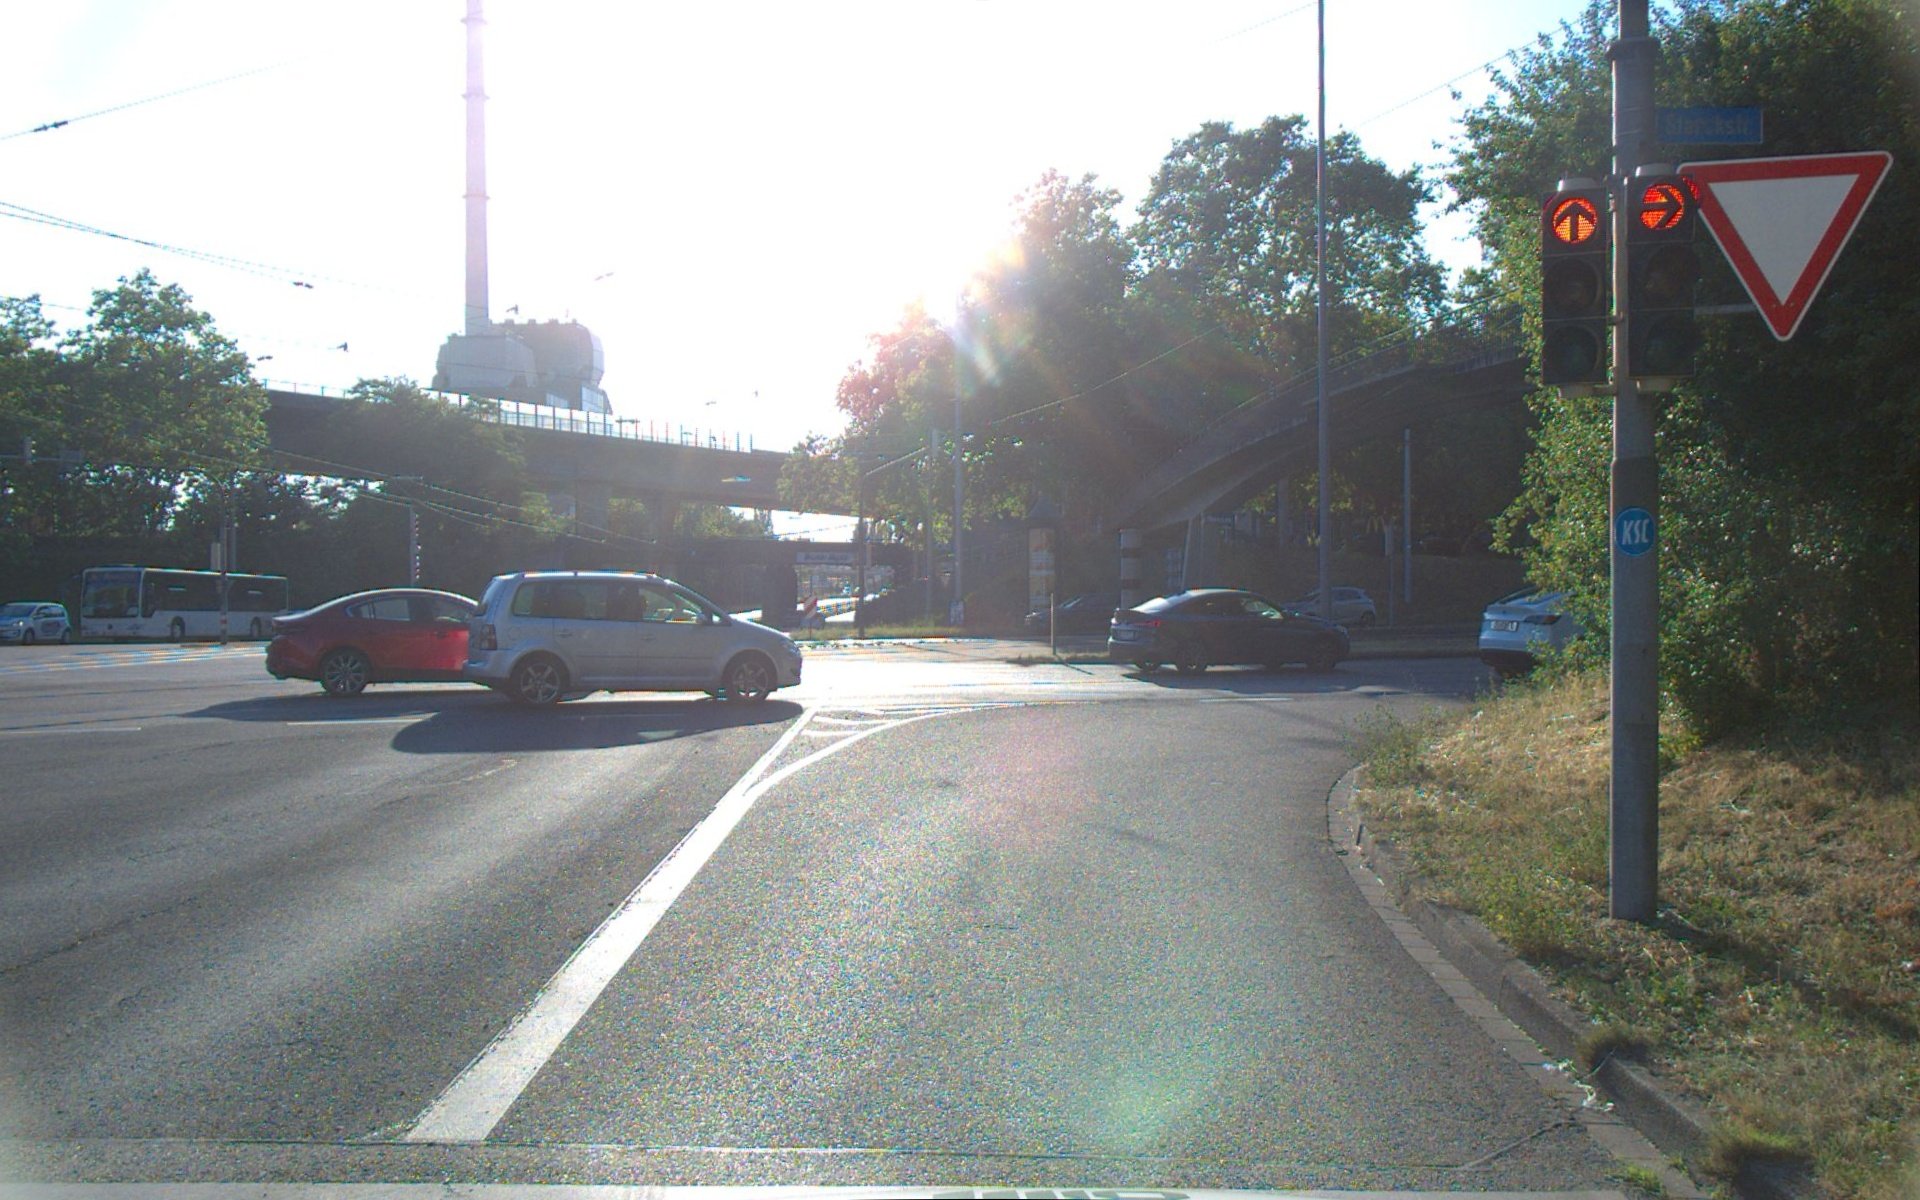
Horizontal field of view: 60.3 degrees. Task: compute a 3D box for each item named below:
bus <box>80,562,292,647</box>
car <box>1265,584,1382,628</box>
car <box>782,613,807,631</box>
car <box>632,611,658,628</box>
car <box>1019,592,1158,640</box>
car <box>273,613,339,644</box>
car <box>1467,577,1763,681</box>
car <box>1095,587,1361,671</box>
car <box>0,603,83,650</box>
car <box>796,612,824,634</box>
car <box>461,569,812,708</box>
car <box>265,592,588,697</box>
[{"bbox_3d":[-32.037,0.307,69.340,2.491,3.185,12.919,-1,-1,2],"label":"bus"},{"bbox_3d":[13.347,0.220,60.819,3.935,1.538,1.684,1,0,-20],"label":"car"},{"bbox_3d":[-13.708,1.795,137.012,1.631,1.429,4.445,1,0,0],"label":"car"},{"bbox_3d":[-28.794,1.793,151.360,1.573,1.444,4.008,1,0,1],"label":"car"},{"bbox_3d":[4.446,0.550,57.086,4.505,1.602,1.685,1,0,-18],"label":"car"},{"bbox_3d":[-31.700,1.370,80.251,1.573,1.444,4.008,1,0,1],"label":"car"},{"bbox_3d":[10.820,0.465,27.305,4.685,1.602,1.683,1,0,-22],"label":"car"},{"bbox_3d":[4.728,0.506,29.180,4.413,1.393,1.683,1,0,-21],"label":"car"},{"bbox_3d":[-32.163,0.899,57.297,1.574,1.538,4.006,1,0,-3],"label":"car"},{"bbox_3d":[-10.475,1.598,115.744,1.631,1.429,4.196,1,0,-1],"label":"car"},{"bbox_3d":[-4.169,0.471,21.328,4.213,1.659,1.683,1,0,-22],"label":"car"},{"bbox_3d":[-7.522,0.608,23.412,4.213,1.388,1.613,1,0,-22],"label":"car"}]
